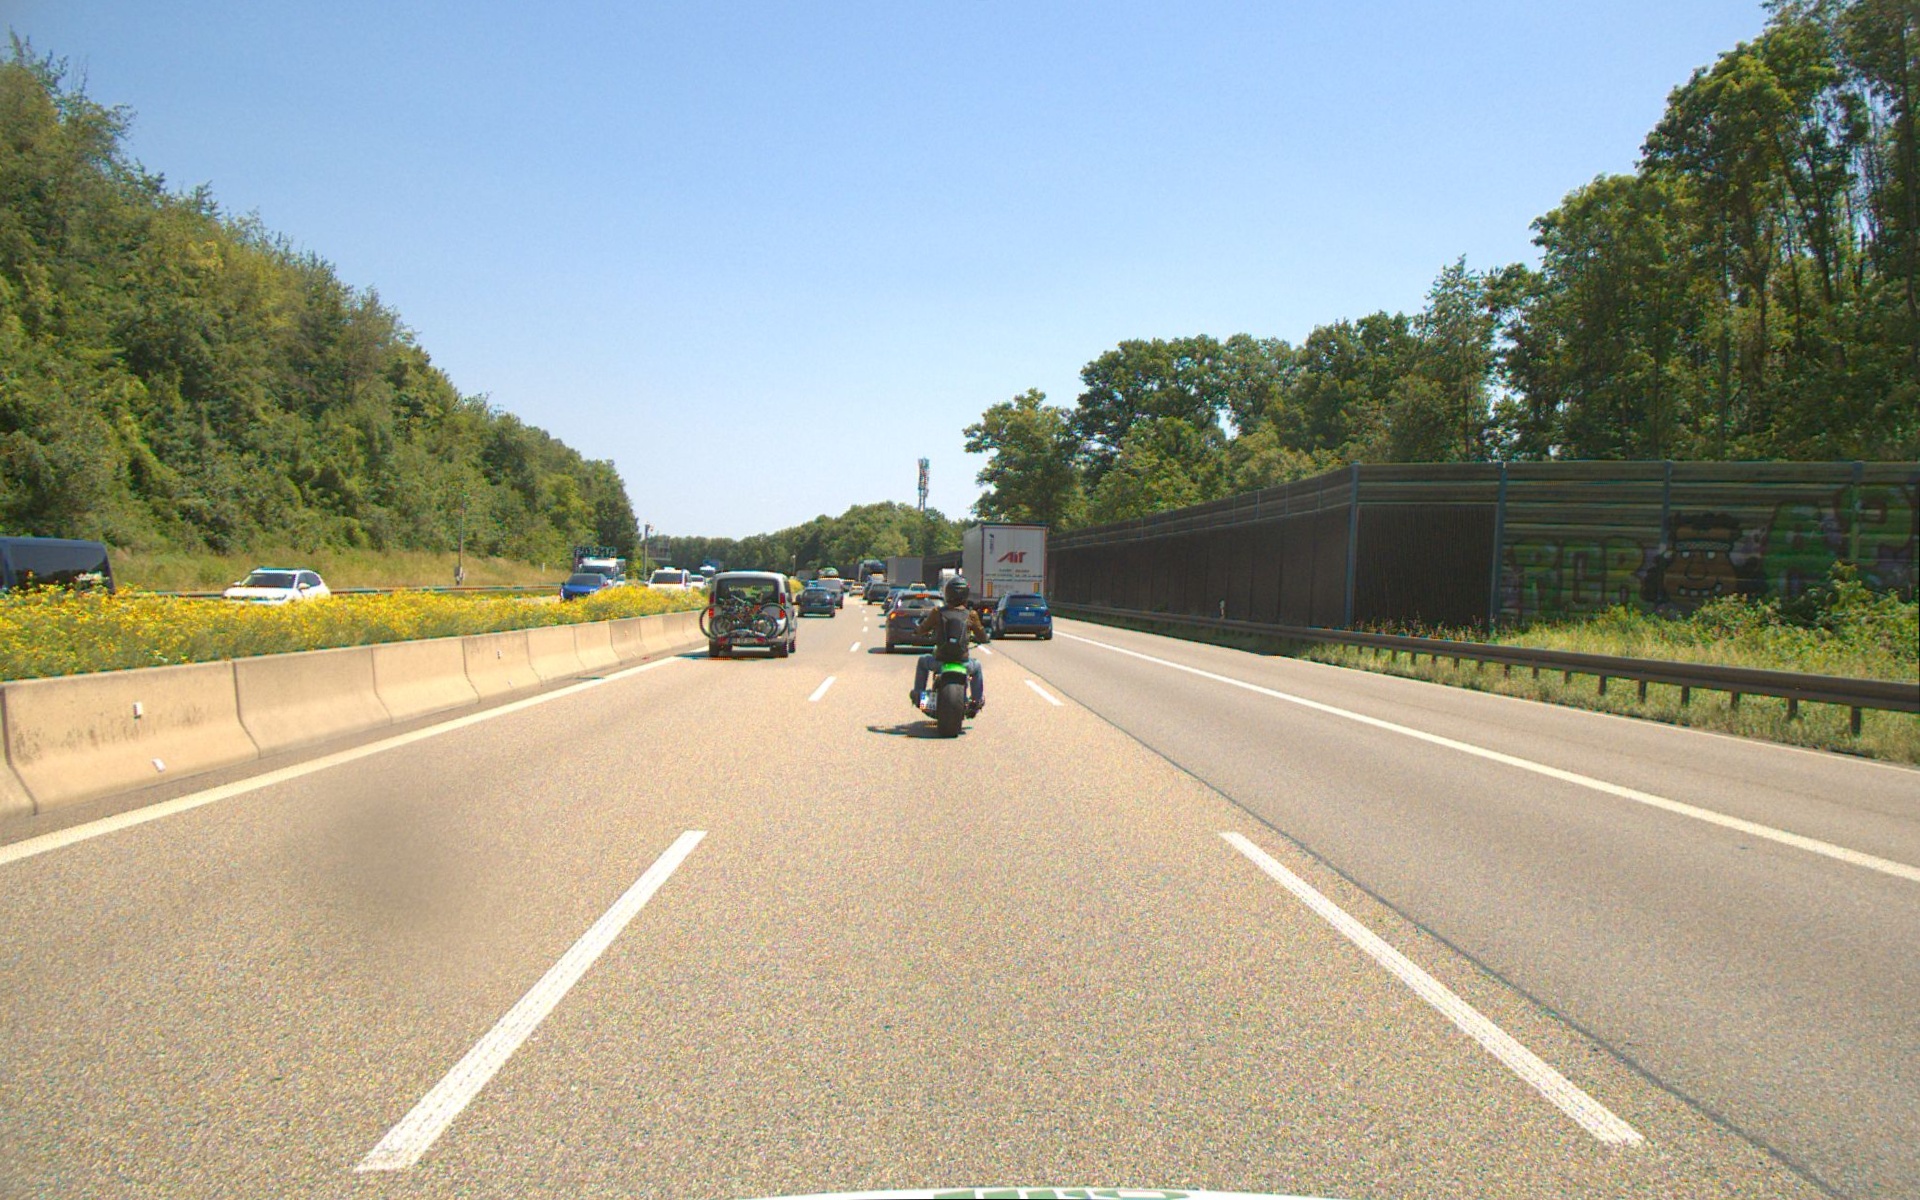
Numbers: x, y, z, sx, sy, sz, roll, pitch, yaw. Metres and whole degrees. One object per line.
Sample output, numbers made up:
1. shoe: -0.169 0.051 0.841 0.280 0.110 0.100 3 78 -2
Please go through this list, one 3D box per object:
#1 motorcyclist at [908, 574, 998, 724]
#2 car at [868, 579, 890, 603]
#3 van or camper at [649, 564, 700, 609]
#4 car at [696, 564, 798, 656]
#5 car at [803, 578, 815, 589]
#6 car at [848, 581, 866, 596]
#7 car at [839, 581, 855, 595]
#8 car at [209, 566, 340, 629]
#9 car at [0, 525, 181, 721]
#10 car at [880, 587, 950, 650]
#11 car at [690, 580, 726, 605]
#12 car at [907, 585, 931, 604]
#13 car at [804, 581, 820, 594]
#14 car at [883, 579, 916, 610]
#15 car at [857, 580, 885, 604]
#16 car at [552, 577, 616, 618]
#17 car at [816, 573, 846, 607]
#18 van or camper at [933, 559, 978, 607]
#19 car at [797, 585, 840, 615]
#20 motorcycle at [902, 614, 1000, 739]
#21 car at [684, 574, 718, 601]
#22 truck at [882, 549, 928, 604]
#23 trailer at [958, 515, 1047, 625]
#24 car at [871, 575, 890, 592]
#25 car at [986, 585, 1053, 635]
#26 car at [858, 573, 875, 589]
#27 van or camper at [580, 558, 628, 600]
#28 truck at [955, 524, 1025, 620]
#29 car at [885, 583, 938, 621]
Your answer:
1. motorcyclist: -0.050 0.500 17.641 0.881 1.501 1.872 1 -1 2
2. car: -7.239 -0.801 147.500 1.874 2.049 3.687 1 -1 -5
3. van or camper: -13.632 -0.611 79.158 1.845 2.049 4.585 1 -1 -3
4. car: -4.679 0.239 36.865 1.861 1.906 4.410 1 -1 -3
5. car: -22.256 -2.444 243.734 1.797 1.522 3.738 1 -1 -6
6. car: -10.567 -1.175 169.647 1.796 1.522 3.741 1 -1 -4
7. car: -13.351 -1.408 195.771 1.796 1.522 3.741 1 -1 -4
8. car: -19.050 -0.091 46.185 1.953 1.645 4.482 1 0 -3
9. car: -11.023 0.248 19.109 1.953 2.049 4.420 1 -1 -1
10. car: -1.144 0.456 40.850 1.629 1.478 3.867 1 -1 -3
11. car: -16.200 -0.489 106.419 1.772 1.512 3.855 1 0 -1
12. car: -3.616 -0.452 145.115 1.954 1.601 3.997 1 -1 -3
13. car: -17.584 -1.473 196.841 1.796 1.522 3.741 1 -1 -4
14. car: -3.205 -0.285 87.955 1.743 1.579 3.583 1 -1 -2
15. car: -6.534 -0.563 121.697 1.953 1.669 3.998 1 -1 -2
16. car: -16.583 -0.075 73.087 1.953 1.720 4.398 1 -1 -2
17. car: -8.147 -0.619 104.692 1.756 2.049 3.640 1 -1 -3
18. van or camper: -0.338 -1.020 105.423 2.631 2.862 6.799 1 -1 -2
19. car: -6.894 0.020 80.838 1.954 1.411 3.998 1 -1 -3
20. motorcycle: -0.055 0.771 17.836 0.944 1.168 2.812 1 1 1
21. car: -20.451 -0.984 130.768 1.953 2.049 4.567 1 -1 -1
22. truck: -5.377 -2.210 160.100 3.729 5.046 8.938 1 -1 -6
23. trailer: 1.594 -1.193 69.523 2.828 4.109 13.789 1 0 -2
24. car: -9.907 -2.045 205.911 2.067 1.909 3.995 1 -1 -5
25. car: 1.885 0.329 53.453 1.618 1.508 4.477 1 -1 -5
26. car: -11.939 -2.390 211.383 2.067 1.909 3.995 1 -1 -5
27. van or camper: -23.454 -1.350 109.064 2.143 2.605 6.925 1 -1 -4
28. truck: 1.336 -1.282 76.354 2.828 4.218 5.983 1 0 -2
29. car: -1.970 0.099 66.091 1.954 1.455 3.844 1 -1 -4
